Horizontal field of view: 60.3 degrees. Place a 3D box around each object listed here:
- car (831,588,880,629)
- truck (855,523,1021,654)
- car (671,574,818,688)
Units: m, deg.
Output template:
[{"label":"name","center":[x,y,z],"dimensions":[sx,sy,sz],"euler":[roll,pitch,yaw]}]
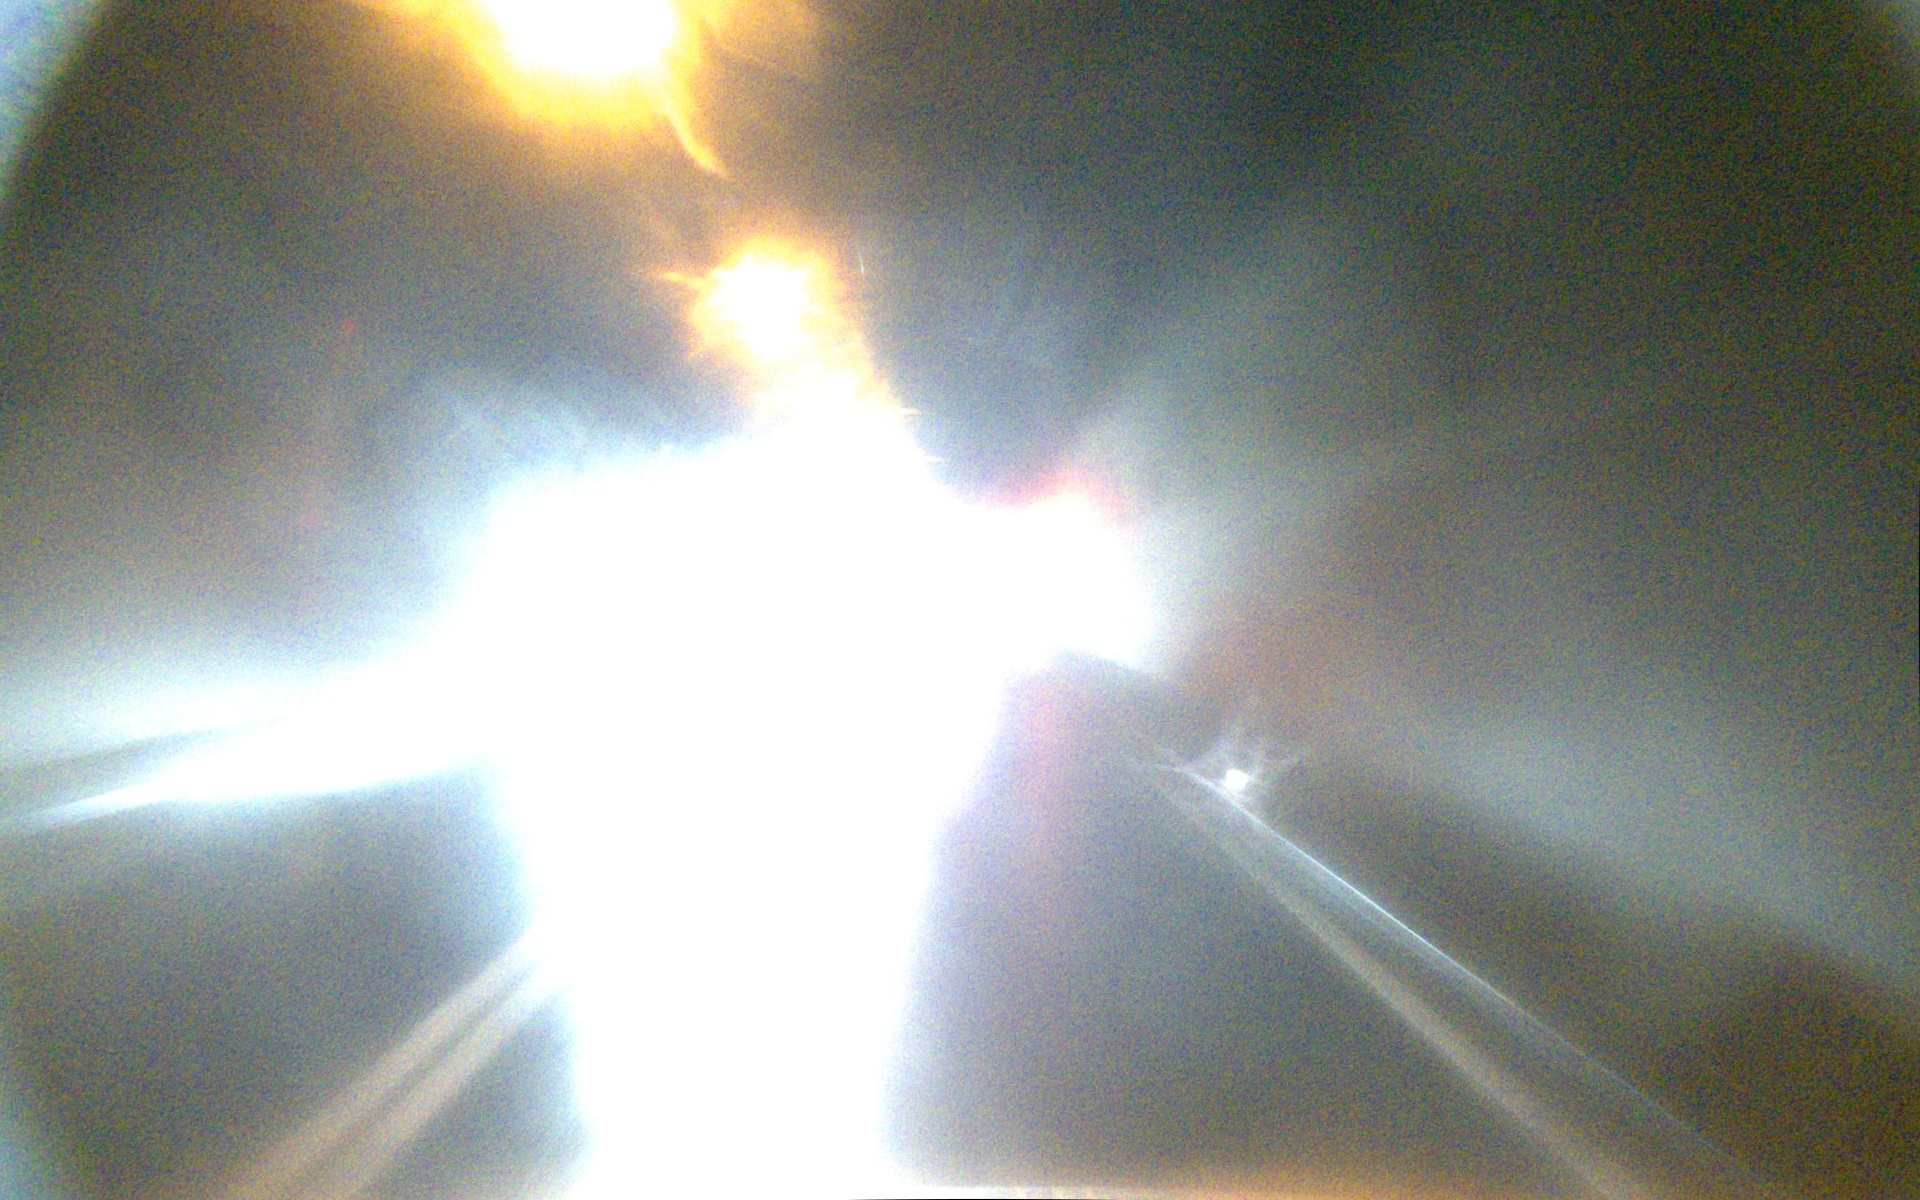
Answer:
[{"label":"car","center":[-4.219,0.342,67.277],"dimensions":[1.721,1.555,3.814],"euler":[2,0,-1]},{"label":"truck","center":[-0.506,-0.273,39.172],"dimensions":[3.463,2.740,8.954],"euler":[0,0,-1]},{"label":"car","center":[-3.066,0.398,24.193],"dimensions":[1.758,1.508,3.867],"euler":[1,1,-2]}]
